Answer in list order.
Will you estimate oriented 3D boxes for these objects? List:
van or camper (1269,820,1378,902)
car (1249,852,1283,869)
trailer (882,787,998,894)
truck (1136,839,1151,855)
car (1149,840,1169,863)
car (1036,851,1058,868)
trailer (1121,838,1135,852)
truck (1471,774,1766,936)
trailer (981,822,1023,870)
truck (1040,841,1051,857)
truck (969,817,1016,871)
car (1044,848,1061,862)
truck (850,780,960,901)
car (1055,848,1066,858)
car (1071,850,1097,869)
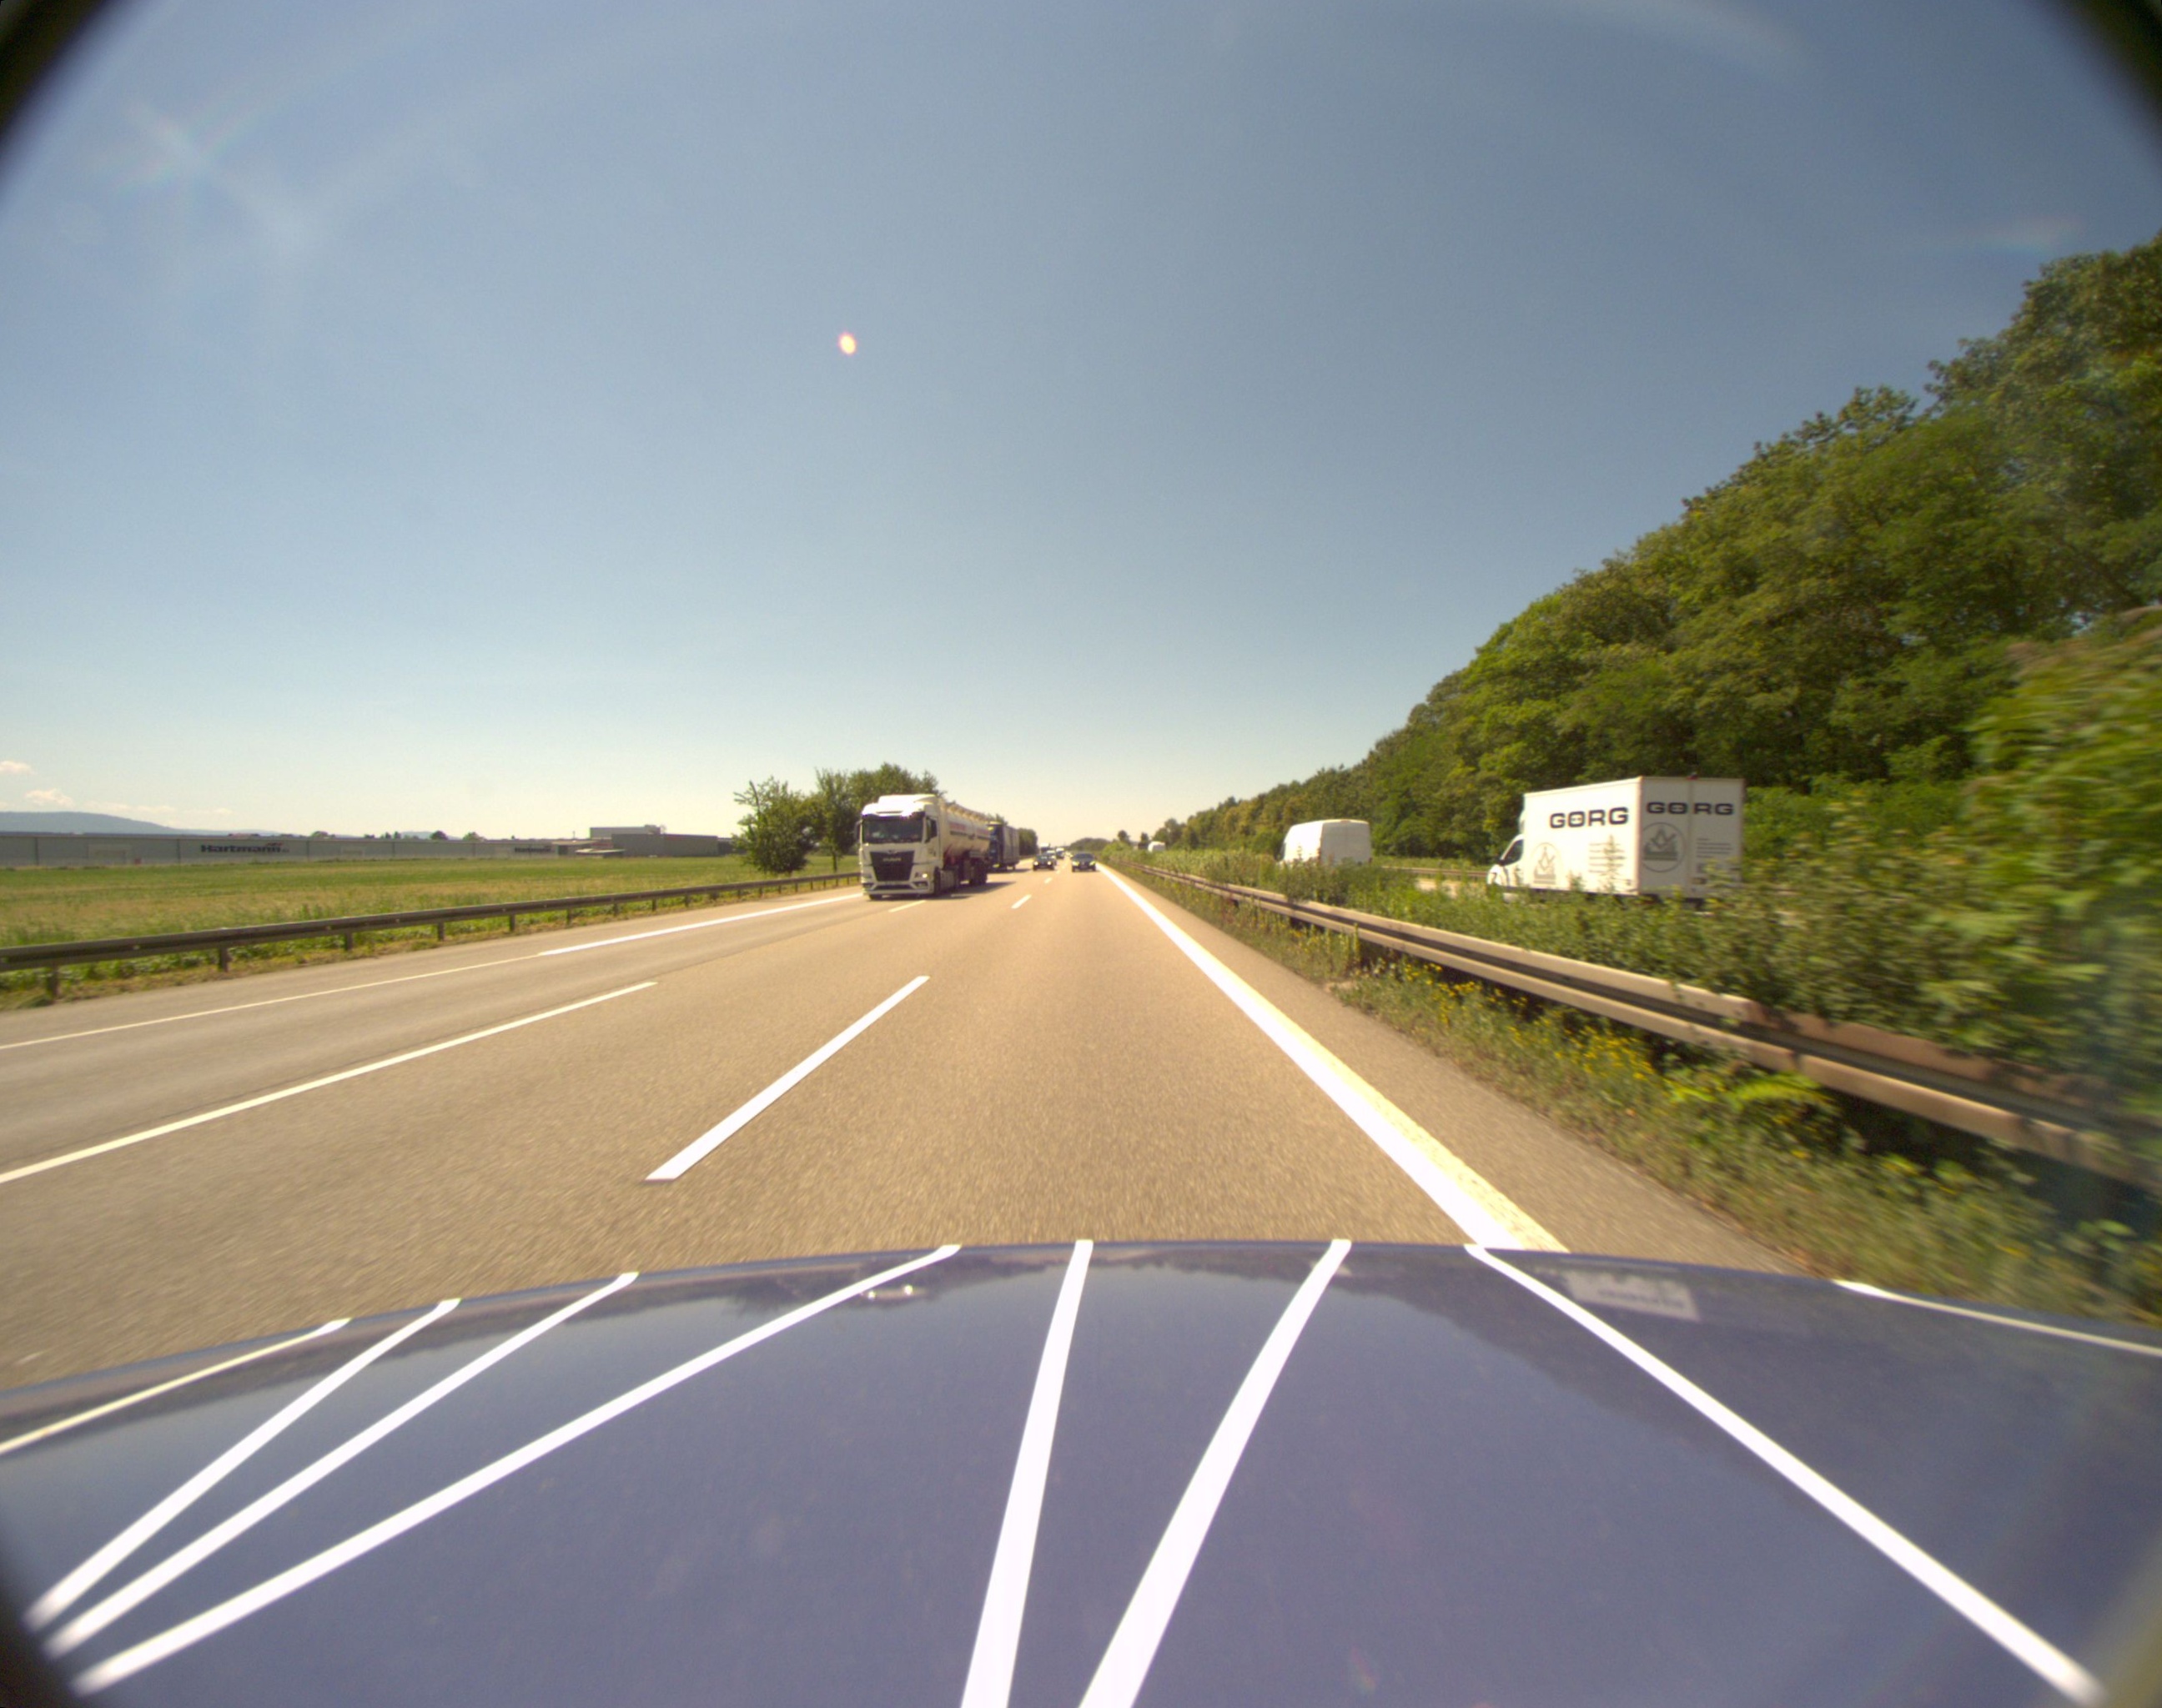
[{"bbox_3d":[9.382,0.235,30.137,1.999,2.829,6.999,-1,0,-1],"label":"van or camper"},{"bbox_3d":[16.971,0.583,69.767,1.937,1.395,4.567,-1,0,0],"label":"car"},{"bbox_3d":[-6.287,-0.566,36.370,2.797,4.180,12.353,-1,0,2],"label":"trailer"},{"bbox_3d":[16.663,-1.948,202.152,3.021,4.090,9.998,-1,0,0],"label":"truck"},{"bbox_3d":[9.637,-0.297,94.301,1.998,2.809,4.596,-1,1,0],"label":"car"},{"bbox_3d":[-2.947,0.432,66.188,1.841,1.409,4.496,-1,0,-2],"label":"car"},{"bbox_3d":[13.097,-2.457,211.170,2.877,3.986,13.515,-1,0,0],"label":"trailer"},{"bbox_3d":[13.005,0.005,19.338,2.416,3.334,6.999,1,0,-1],"label":"truck"},{"bbox_3d":[-7.401,-0.773,72.348,2.797,4.180,10.805,-1,0,0],"label":"trailer"},{"bbox_3d":[-9.650,-1.328,206.119,2.798,4.180,10.804,-1,0,-2],"label":"truck"},{"bbox_3d":[-7.362,-0.797,64.832,2.797,4.180,10.805,-1,0,0],"label":"truck"},{"bbox_3d":[-3.439,0.084,91.347,1.887,1.634,3.999,-1,0,-1],"label":"car"},{"bbox_3d":[-6.576,-0.490,29.130,2.797,4.180,5.000,-1,1,2],"label":"truck"},{"bbox_3d":[-4.016,-0.195,151.265,1.999,2.002,3.999,-1,1,0],"label":"car"},{"bbox_3d":[0.212,0.395,58.940,1.887,1.341,4.466,-1,0,-2],"label":"car"}]
